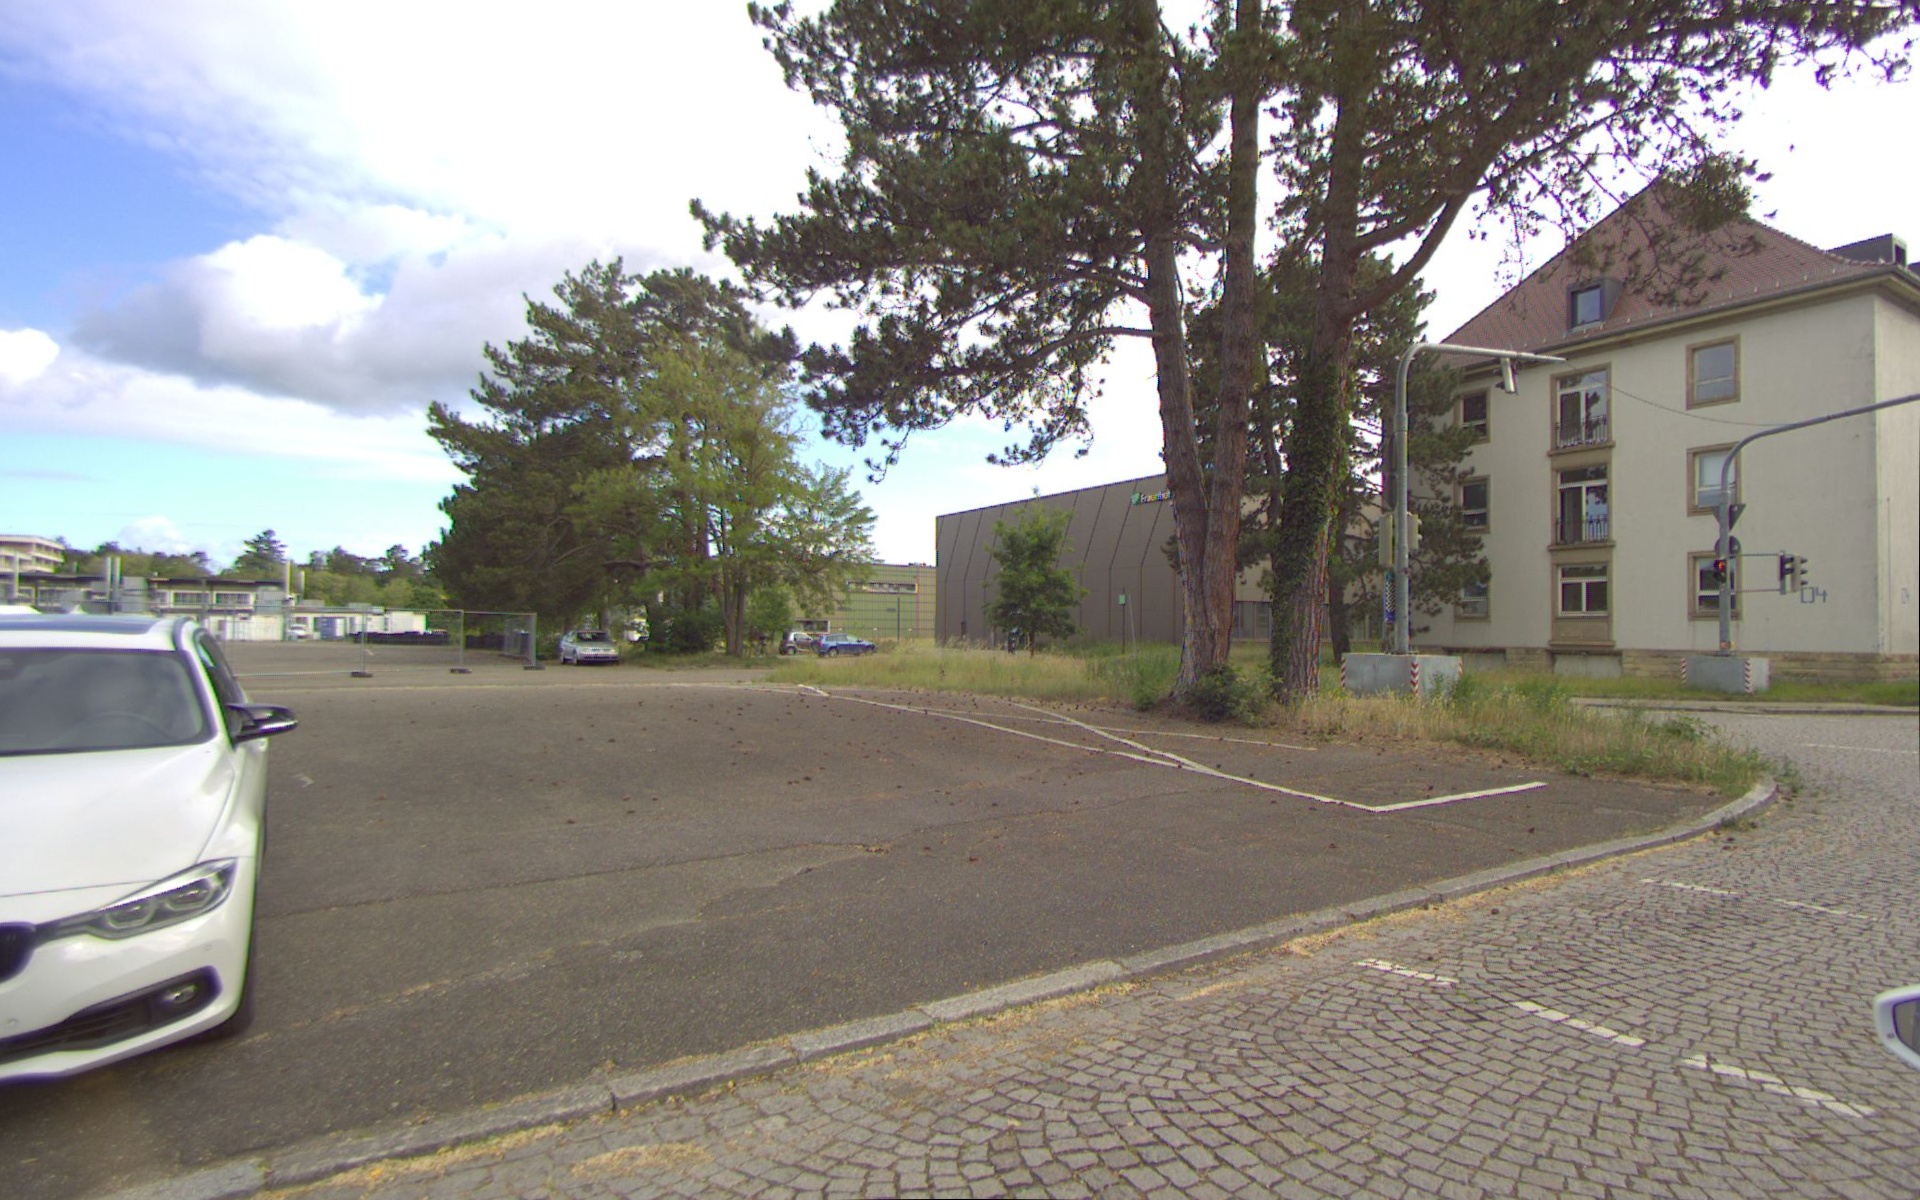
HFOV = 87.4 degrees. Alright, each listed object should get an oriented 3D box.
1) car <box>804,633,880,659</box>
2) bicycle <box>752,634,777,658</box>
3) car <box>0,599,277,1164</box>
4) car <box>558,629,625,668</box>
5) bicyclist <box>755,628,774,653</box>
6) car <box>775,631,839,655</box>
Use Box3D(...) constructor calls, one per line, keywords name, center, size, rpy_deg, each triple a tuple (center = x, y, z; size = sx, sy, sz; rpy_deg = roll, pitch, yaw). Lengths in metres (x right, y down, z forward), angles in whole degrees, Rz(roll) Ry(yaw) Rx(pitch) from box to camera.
Box3D(name="car", center=(-7.482, 2.869, 63.798), size=(4.450, 1.482, 1.916), rpy_deg=(0, -1, -35))
Box3D(name="bicycle", center=(-12.092, 2.848, 62.081), size=(0.817, 1.395, 2.024), rpy_deg=(2, -1, -33))
Box3D(name="car", center=(-4.237, 0.776, 4.525), size=(1.847, 1.508, 4.710), rpy_deg=(1, 0, -34))
Box3D(name="car", center=(-15.254, 1.965, 41.459), size=(1.717, 1.451, 4.124), rpy_deg=(2, -1, -33))
Box3D(name="bicyclist", center=(-12.062, 2.502, 62.055), size=(0.891, 1.562, 0.860), rpy_deg=(2, -1, -33))
Box3D(name="car", center=(-10.743, 2.994, 70.482), size=(4.079, 1.593, 1.748), rpy_deg=(0, -1, -35))
